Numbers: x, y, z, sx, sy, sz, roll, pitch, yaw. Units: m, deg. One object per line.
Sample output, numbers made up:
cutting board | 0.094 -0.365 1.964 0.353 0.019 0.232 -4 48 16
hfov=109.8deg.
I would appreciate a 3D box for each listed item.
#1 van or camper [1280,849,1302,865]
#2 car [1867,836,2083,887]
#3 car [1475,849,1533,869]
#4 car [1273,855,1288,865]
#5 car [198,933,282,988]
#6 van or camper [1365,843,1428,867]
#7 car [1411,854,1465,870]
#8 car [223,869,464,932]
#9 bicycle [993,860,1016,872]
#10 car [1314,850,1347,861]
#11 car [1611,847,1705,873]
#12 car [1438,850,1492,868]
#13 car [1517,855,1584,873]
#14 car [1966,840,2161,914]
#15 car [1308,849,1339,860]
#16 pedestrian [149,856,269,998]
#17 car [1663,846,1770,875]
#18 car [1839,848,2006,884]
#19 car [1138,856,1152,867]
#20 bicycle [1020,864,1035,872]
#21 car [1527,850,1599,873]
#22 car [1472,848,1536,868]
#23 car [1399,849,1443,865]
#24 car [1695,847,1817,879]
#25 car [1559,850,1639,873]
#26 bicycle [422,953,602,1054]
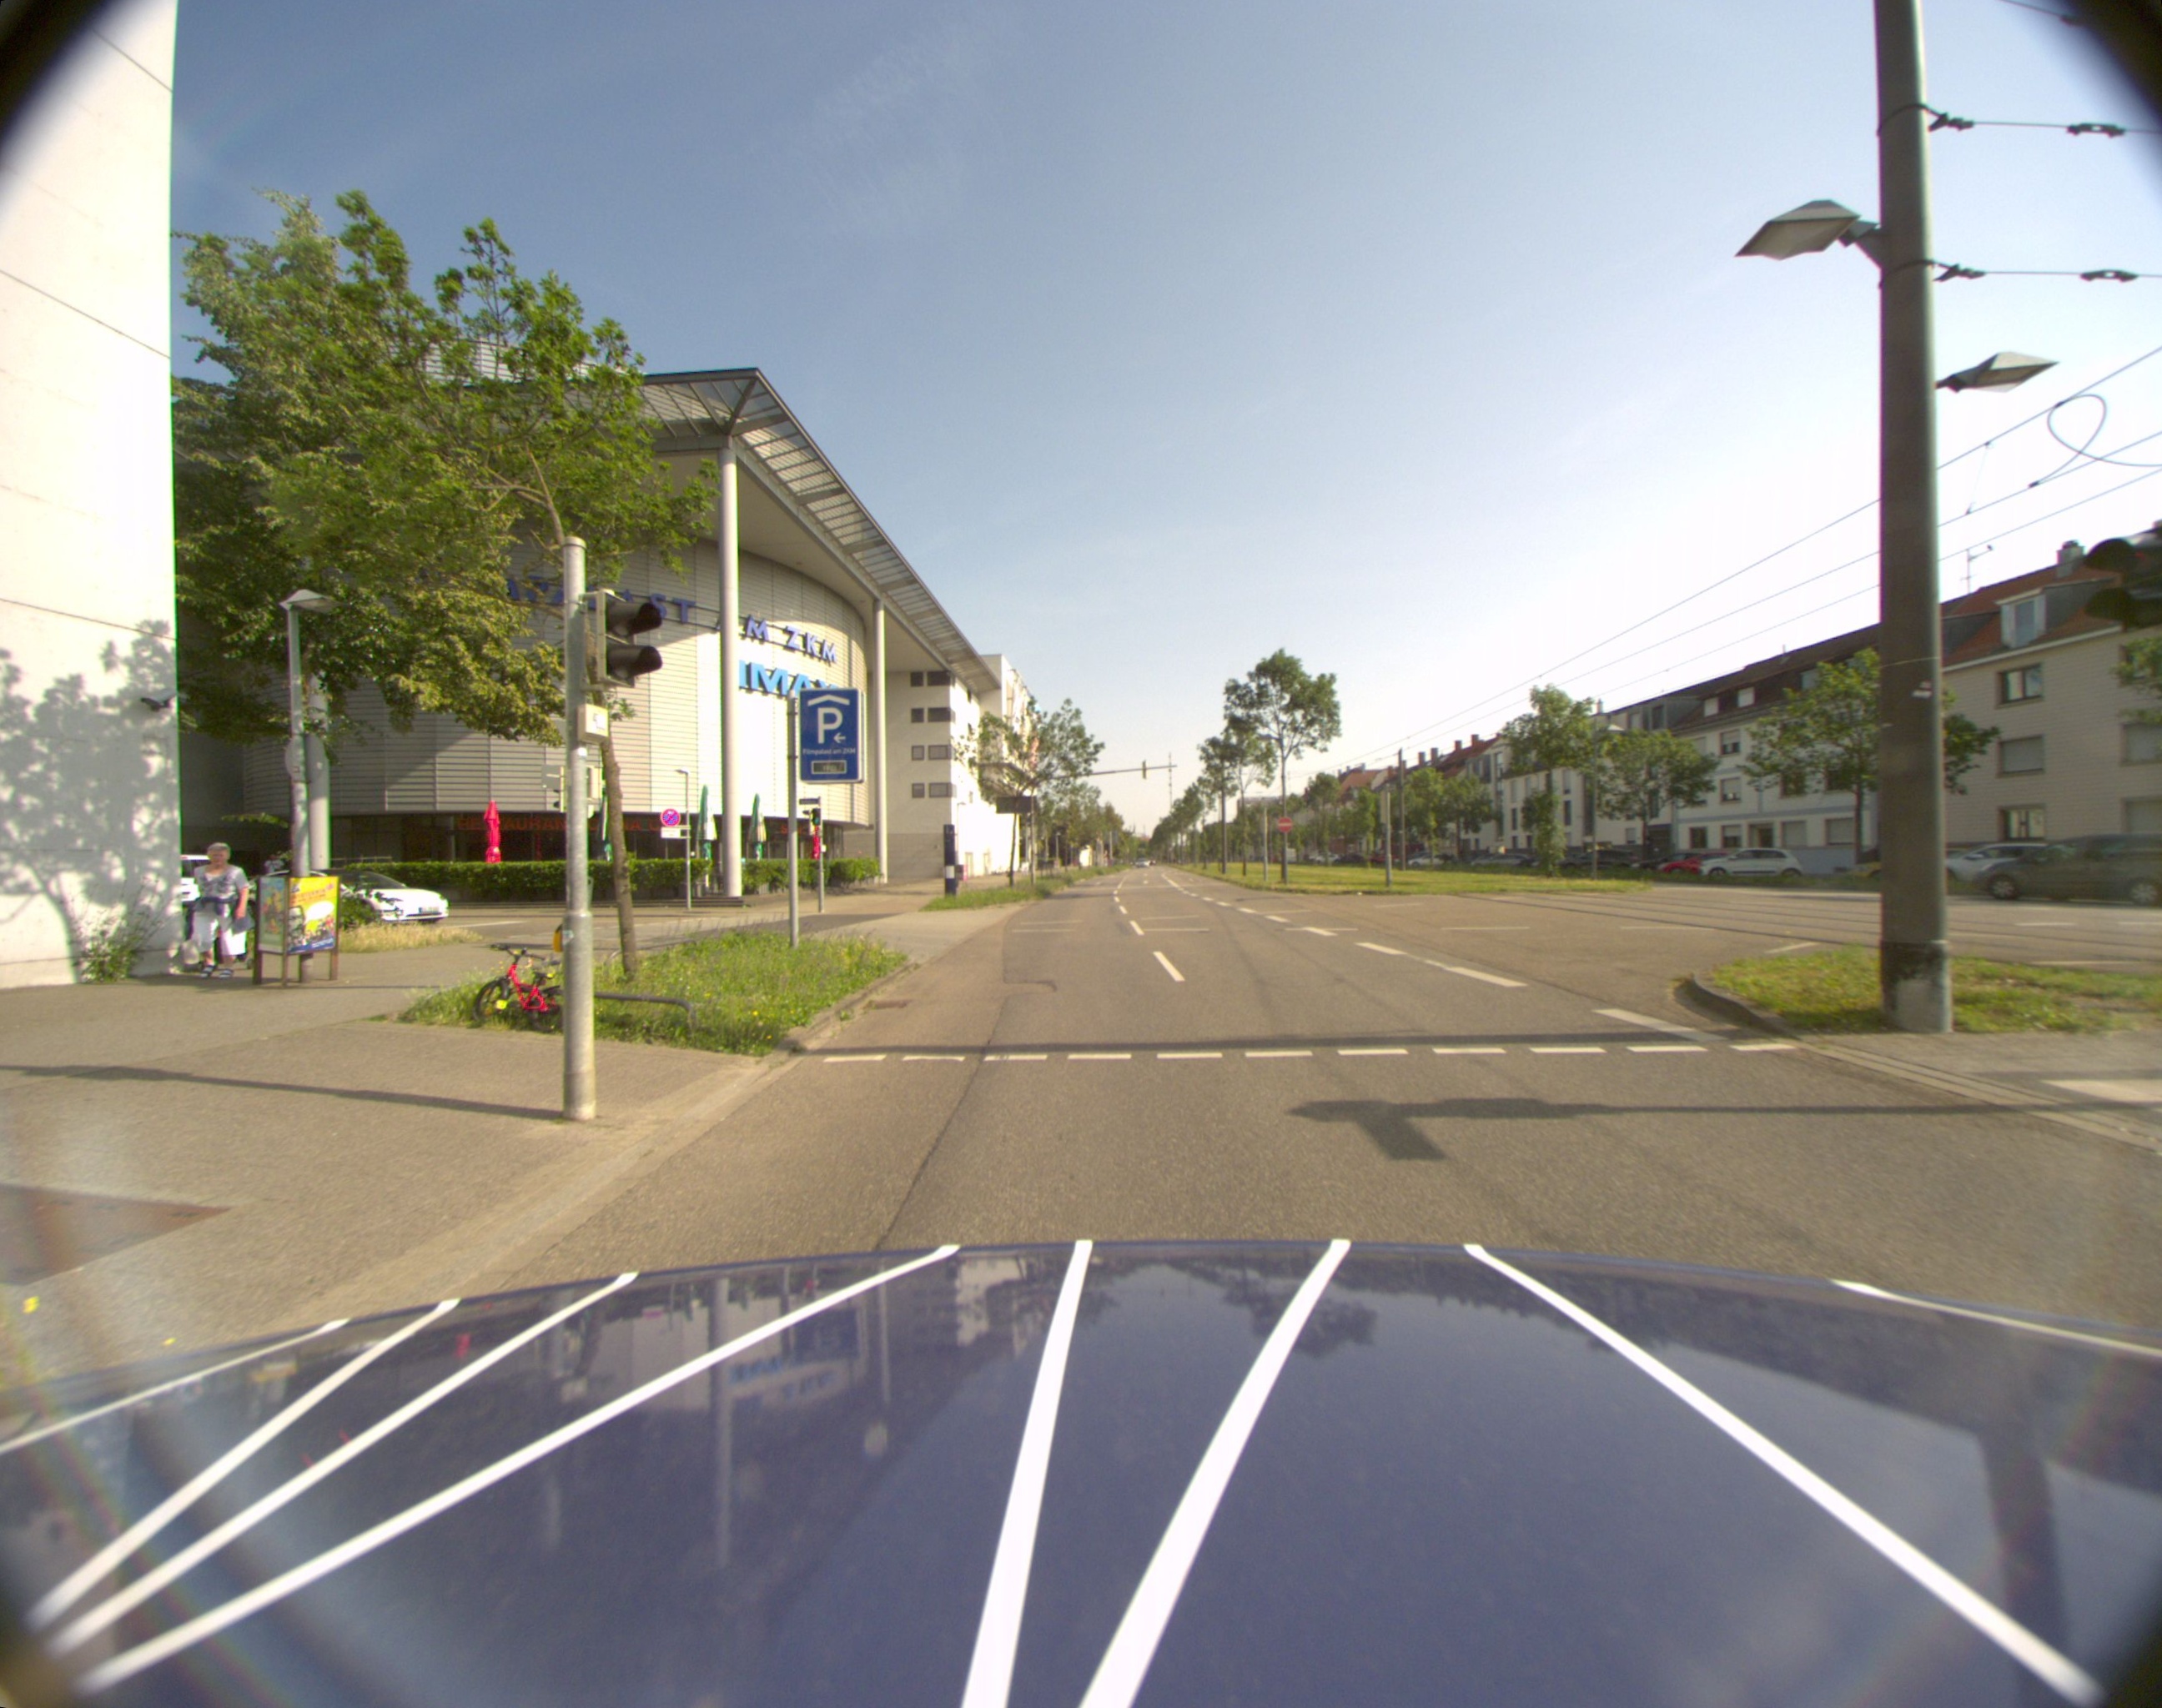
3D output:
van or camper | 32.857 0.389 119.127 2.146 2.459 6.060 0 0 4
car | 29.952 0.284 25.728 4.453 1.505 2.004 -3 0 41
car | 32.444 0.406 58.292 3.771 1.368 1.667 -3 0 30
car | 33.305 0.963 126.815 1.819 1.727 4.163 -1 0 6
car | -10.810 1.354 9.787 0.499 0.584 0.766 -1 0 -29
van or camper | 35.907 0.115 86.505 6.145 2.532 2.419 -2 0 42
car | 34.551 0.765 73.573 4.388 1.312 1.737 -3 0 37
car | -18.279 1.134 18.971 4.330 1.456 1.902 -1 0 4
bicycle | -7.319 1.152 72.461 2.012 1.096 0.676 -1 0 9
car | 37.951 0.298 115.463 4.355 1.466 1.861 -3 0 42
car | 31.491 0.314 41.577 3.989 1.227 1.702 -3 0 38
car | 32.885 0.407 65.077 3.990 1.368 1.931 -3 0 32
car | 33.201 0.709 53.822 3.989 1.280 2.004 -1 0 30
car | 25.925 0.551 19.003 1.999 1.696 4.712 1 0 0
car | 37.821 0.119 118.598 4.088 1.520 1.816 -3 0 42
pedestrian | -10.424 0.832 9.119 0.714 1.606 0.778 -1 0 -30
car | 31.666 0.356 37.999 3.989 1.251 1.879 -3 0 37
car | 30.768 0.460 27.979 2.004 1.171 3.989 -3 0 -45
car | 9.594 1.123 114.302 1.998 1.652 4.001 -1 0 4
bicycle | -6.062 1.557 86.790 1.661 0.910 0.483 -1 0 5
car | 32.260 0.500 51.011 3.990 1.280 2.003 -3 0 30
car | 33.712 0.344 60.577 4.329 1.368 2.003 -3 0 30
car | 34.489 0.327 77.064 3.712 1.426 1.645 -3 0 37
car | 31.202 0.424 35.278 3.989 1.262 1.890 -3 0 34
car | 32.475 0.469 47.800 4.049 1.280 2.004 -3 0 32
bicycle | -4.966 1.287 6.649 1.272 0.629 0.521 5 2 11
